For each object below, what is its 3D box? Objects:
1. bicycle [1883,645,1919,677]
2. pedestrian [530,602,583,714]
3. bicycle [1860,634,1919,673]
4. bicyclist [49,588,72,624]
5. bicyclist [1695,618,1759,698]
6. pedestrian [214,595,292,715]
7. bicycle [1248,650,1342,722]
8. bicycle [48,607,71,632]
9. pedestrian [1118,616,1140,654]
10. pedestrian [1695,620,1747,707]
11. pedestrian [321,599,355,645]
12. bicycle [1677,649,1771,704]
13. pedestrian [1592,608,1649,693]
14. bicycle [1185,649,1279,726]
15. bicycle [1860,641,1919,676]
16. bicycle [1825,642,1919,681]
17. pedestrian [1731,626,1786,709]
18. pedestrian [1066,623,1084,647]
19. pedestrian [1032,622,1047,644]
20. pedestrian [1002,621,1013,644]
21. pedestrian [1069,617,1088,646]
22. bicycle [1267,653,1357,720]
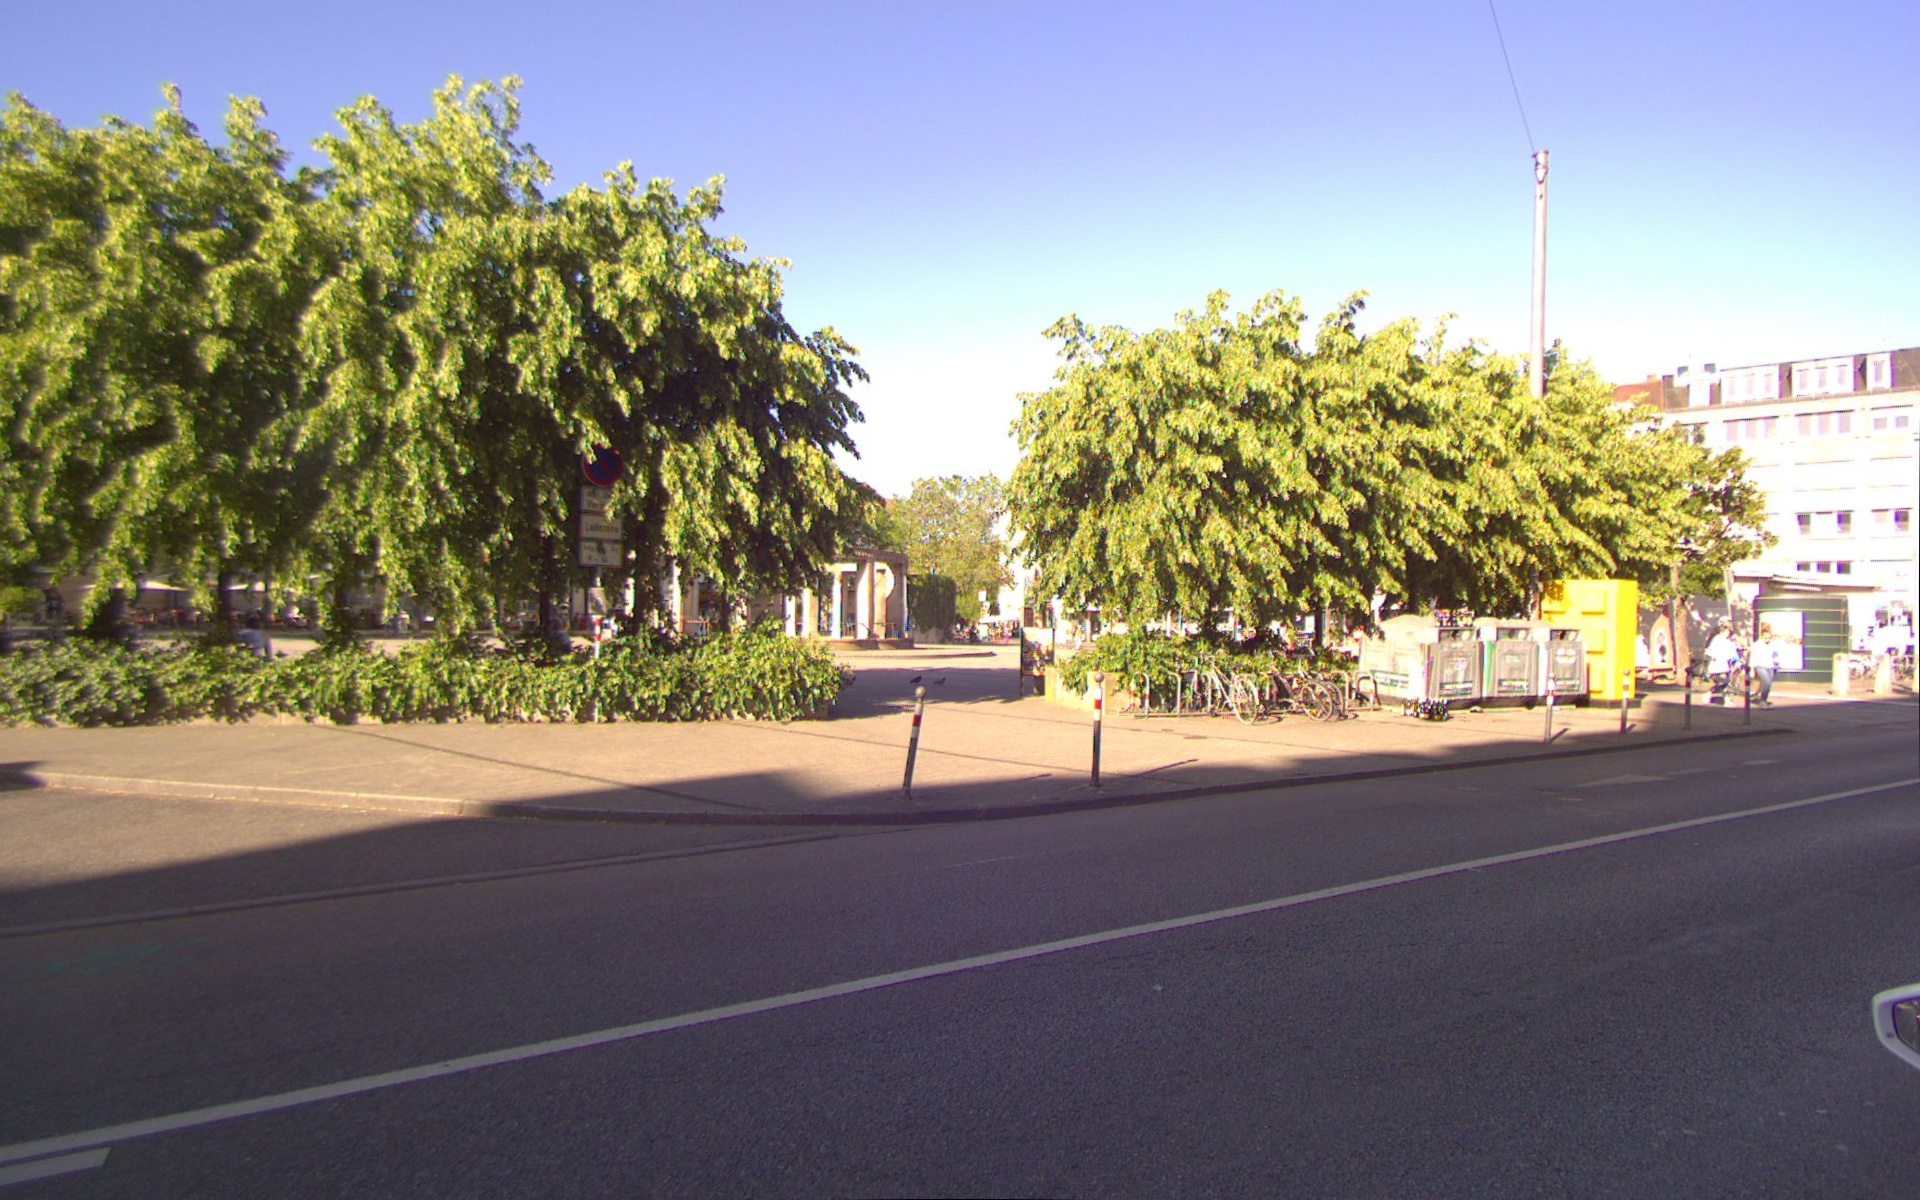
[{"bbox_3d":[36.717,2.330,38.000,0.834,1.171,2.517,1,-1,-34],"label":"bicycle"},{"bbox_3d":[-6.614,0.933,16.503,0.725,1.781,0.895,1,-1,-19],"label":"pedestrian"},{"bbox_3d":[34.443,1.945,36.494,0.913,1.341,2.461,1,-1,-35],"label":"bicycle"},{"bbox_3d":[-36.772,0.254,41.061,0.668,1.447,0.690,1,-1,-41],"label":"bicyclist"},{"bbox_3d":[18.570,1.389,24.341,0.773,1.862,0.952,1,0,-8],"label":"bicyclist"},{"bbox_3d":[-10.892,0.833,15.506,0.725,1.781,0.895,1,-1,-19],"label":"pedestrian"},{"bbox_3d":[5.346,1.355,16.105,0.425,1.036,1.561,1,-1,-28],"label":"bicycle"},{"bbox_3d":[-36.791,0.796,41.041,0.584,0.966,1.885,2,-1,-39],"label":"bicycle"},{"bbox_3d":[9.336,1.928,55.559,0.913,2.040,1.184,1,-1,-3],"label":"pedestrian"},{"bbox_3d":[15.794,1.306,20.852,0.661,1.751,0.549,1,-1,3],"label":"pedestrian"},{"bbox_3d":[-24.782,0.875,40.037,0.723,1.781,0.898,1,-1,29],"label":"pedestrian"},{"bbox_3d":[18.496,1.839,24.376,0.528,1.154,2.065,1,1,-6],"label":"bicycle"},{"bbox_3d":[15.660,1.184,23.822,0.699,1.981,0.828,1,0,-18],"label":"pedestrian"},{"bbox_3d":[4.177,1.322,15.521,0.425,1.031,1.590,1,0,-28],"label":"bicycle"},{"bbox_3d":[33.083,2.039,35.004,0.833,1.171,2.449,1,-1,-31],"label":"bicycle"},{"bbox_3d":[30.867,2.058,33.840,0.833,1.171,2.493,1,-1,-31],"label":"bicycle"},{"bbox_3d":[16.559,1.384,20.842,0.608,1.684,0.685,1,-1,5],"label":"pedestrian"},{"bbox_3d":[9.723,2.948,84.838,1.252,2.040,1.285,1,-1,-4],"label":"pedestrian"},{"bbox_3d":[7.657,3.158,96.950,1.252,2.040,1.285,1,-1,-4],"label":"pedestrian"},{"bbox_3d":[4.292,2.916,90.617,0.886,2.040,1.286,1,0,9],"label":"pedestrian"},{"bbox_3d":[8.292,2.199,70.414,0.804,2.040,1.047,1,-1,-31],"label":"pedestrian"},{"bbox_3d":[5.735,1.392,16.430,0.425,0.971,1.518,0,0,-28],"label":"bicycle"}]
